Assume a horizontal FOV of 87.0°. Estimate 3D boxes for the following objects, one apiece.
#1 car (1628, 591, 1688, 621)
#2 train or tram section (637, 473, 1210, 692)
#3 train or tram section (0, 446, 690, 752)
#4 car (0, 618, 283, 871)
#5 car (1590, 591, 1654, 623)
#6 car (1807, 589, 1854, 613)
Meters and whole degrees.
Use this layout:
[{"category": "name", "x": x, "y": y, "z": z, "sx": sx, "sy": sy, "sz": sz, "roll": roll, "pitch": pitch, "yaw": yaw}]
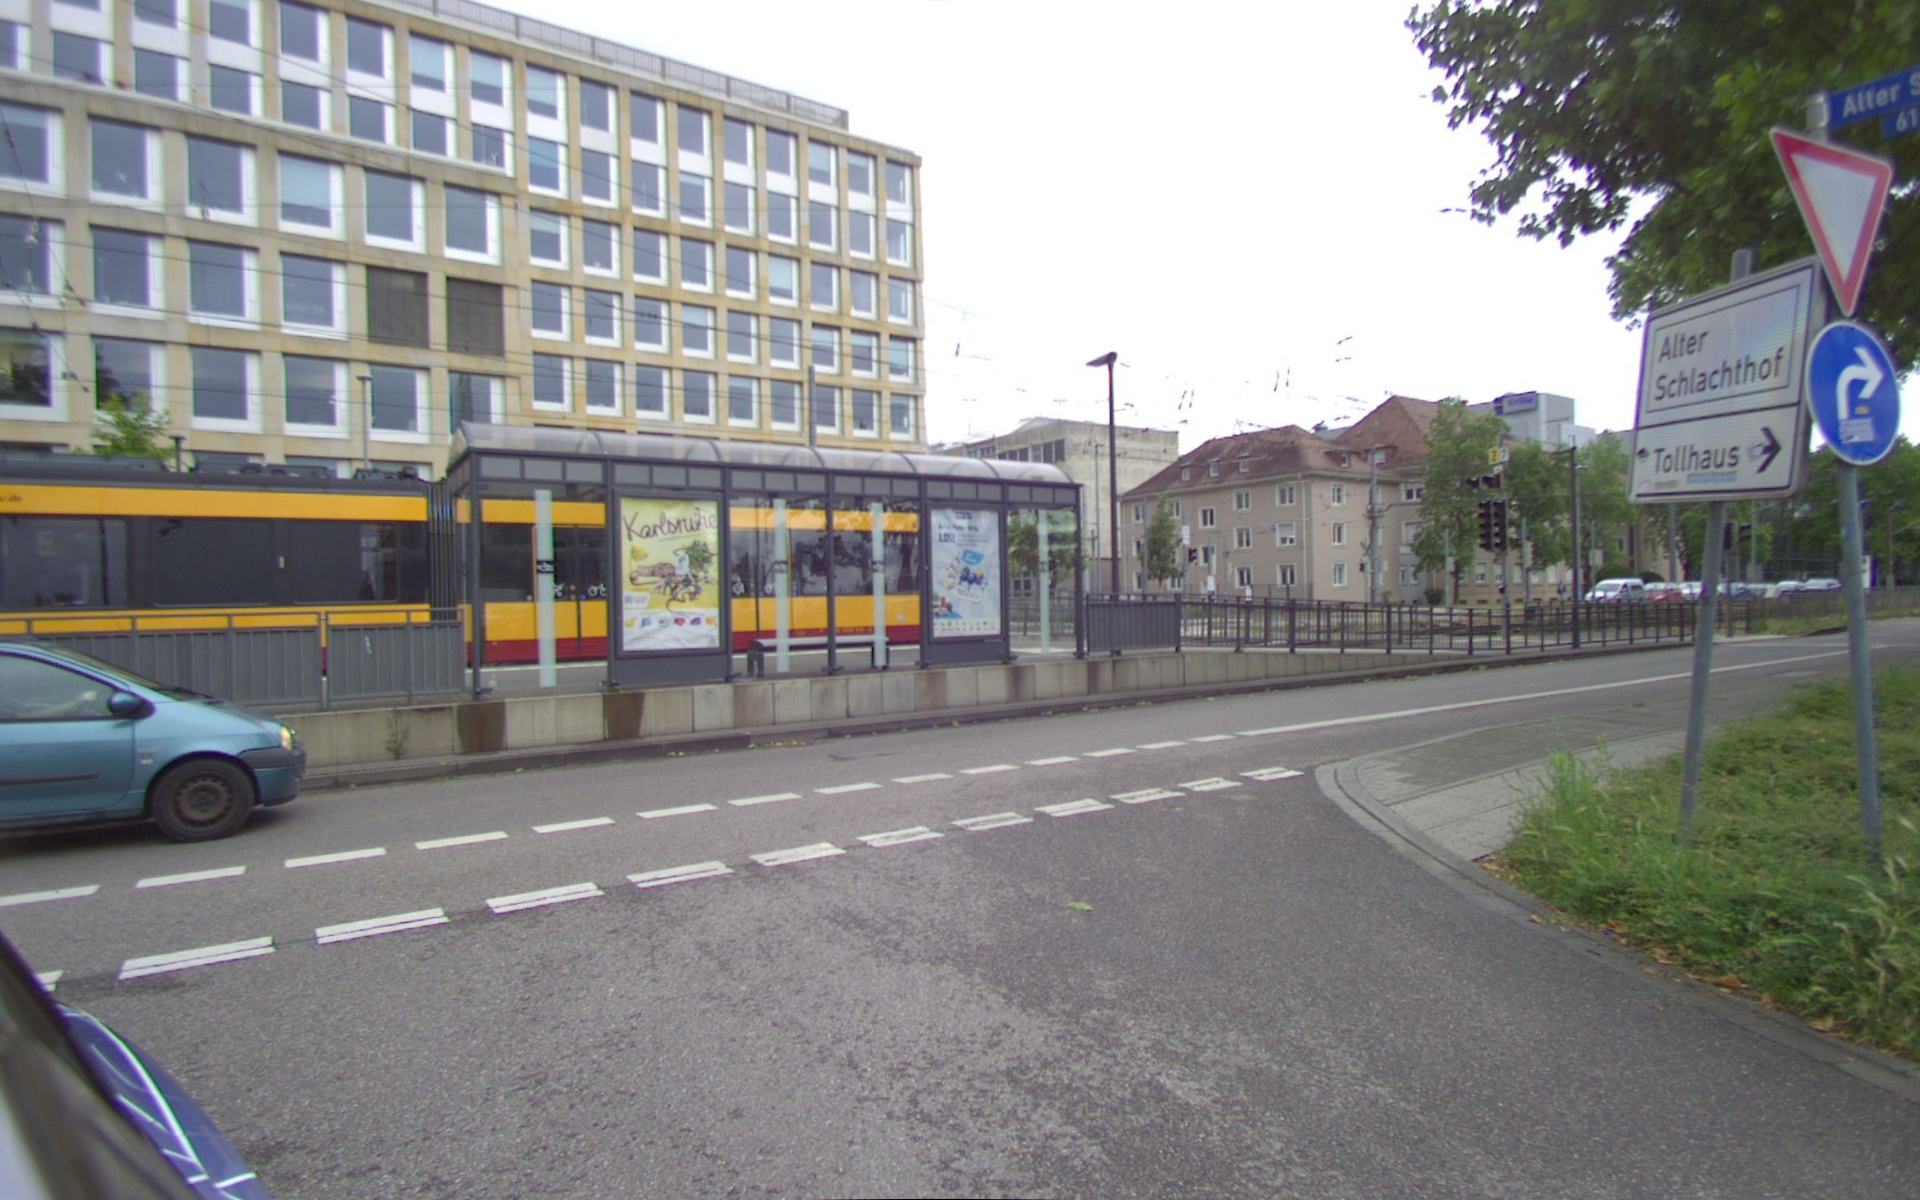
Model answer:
[{"category": "car", "x": 44.127, "y": 0.370, "z": 63.998, "sx": 3.935, "sy": 1.807, "sz": 2.004, "roll": -1, "pitch": -1, "yaw": -38}, {"category": "train or tram section", "x": -0.123, "y": -0.375, "z": 24.808, "sx": 14.487, "sy": 4.210, "sz": 3.199, "roll": -1, "pitch": -1, "yaw": -34}, {"category": "train or tram section", "x": -12.085, "y": -0.012, "z": 16.639, "sx": 14.487, "sy": 4.210, "sz": 3.199, "roll": -1, "pitch": -1, "yaw": -34}, {"category": "car", "x": -6.382, "y": 0.905, "z": 6.550, "sx": 3.297, "sy": 1.483, "sz": 1.540, "roll": -1, "pitch": -2, "yaw": -33}, {"category": "car", "x": 39.634, "y": 0.415, "z": 60.544, "sx": 3.935, "sy": 1.807, "sz": 2.004, "roll": -1, "pitch": -1, "yaw": -38}, {"category": "car", "x": 68.116, "y": 0.090, "z": 79.141, "sx": 3.935, "sy": 1.807, "sz": 2.004, "roll": -1, "pitch": -1, "yaw": -38}]
